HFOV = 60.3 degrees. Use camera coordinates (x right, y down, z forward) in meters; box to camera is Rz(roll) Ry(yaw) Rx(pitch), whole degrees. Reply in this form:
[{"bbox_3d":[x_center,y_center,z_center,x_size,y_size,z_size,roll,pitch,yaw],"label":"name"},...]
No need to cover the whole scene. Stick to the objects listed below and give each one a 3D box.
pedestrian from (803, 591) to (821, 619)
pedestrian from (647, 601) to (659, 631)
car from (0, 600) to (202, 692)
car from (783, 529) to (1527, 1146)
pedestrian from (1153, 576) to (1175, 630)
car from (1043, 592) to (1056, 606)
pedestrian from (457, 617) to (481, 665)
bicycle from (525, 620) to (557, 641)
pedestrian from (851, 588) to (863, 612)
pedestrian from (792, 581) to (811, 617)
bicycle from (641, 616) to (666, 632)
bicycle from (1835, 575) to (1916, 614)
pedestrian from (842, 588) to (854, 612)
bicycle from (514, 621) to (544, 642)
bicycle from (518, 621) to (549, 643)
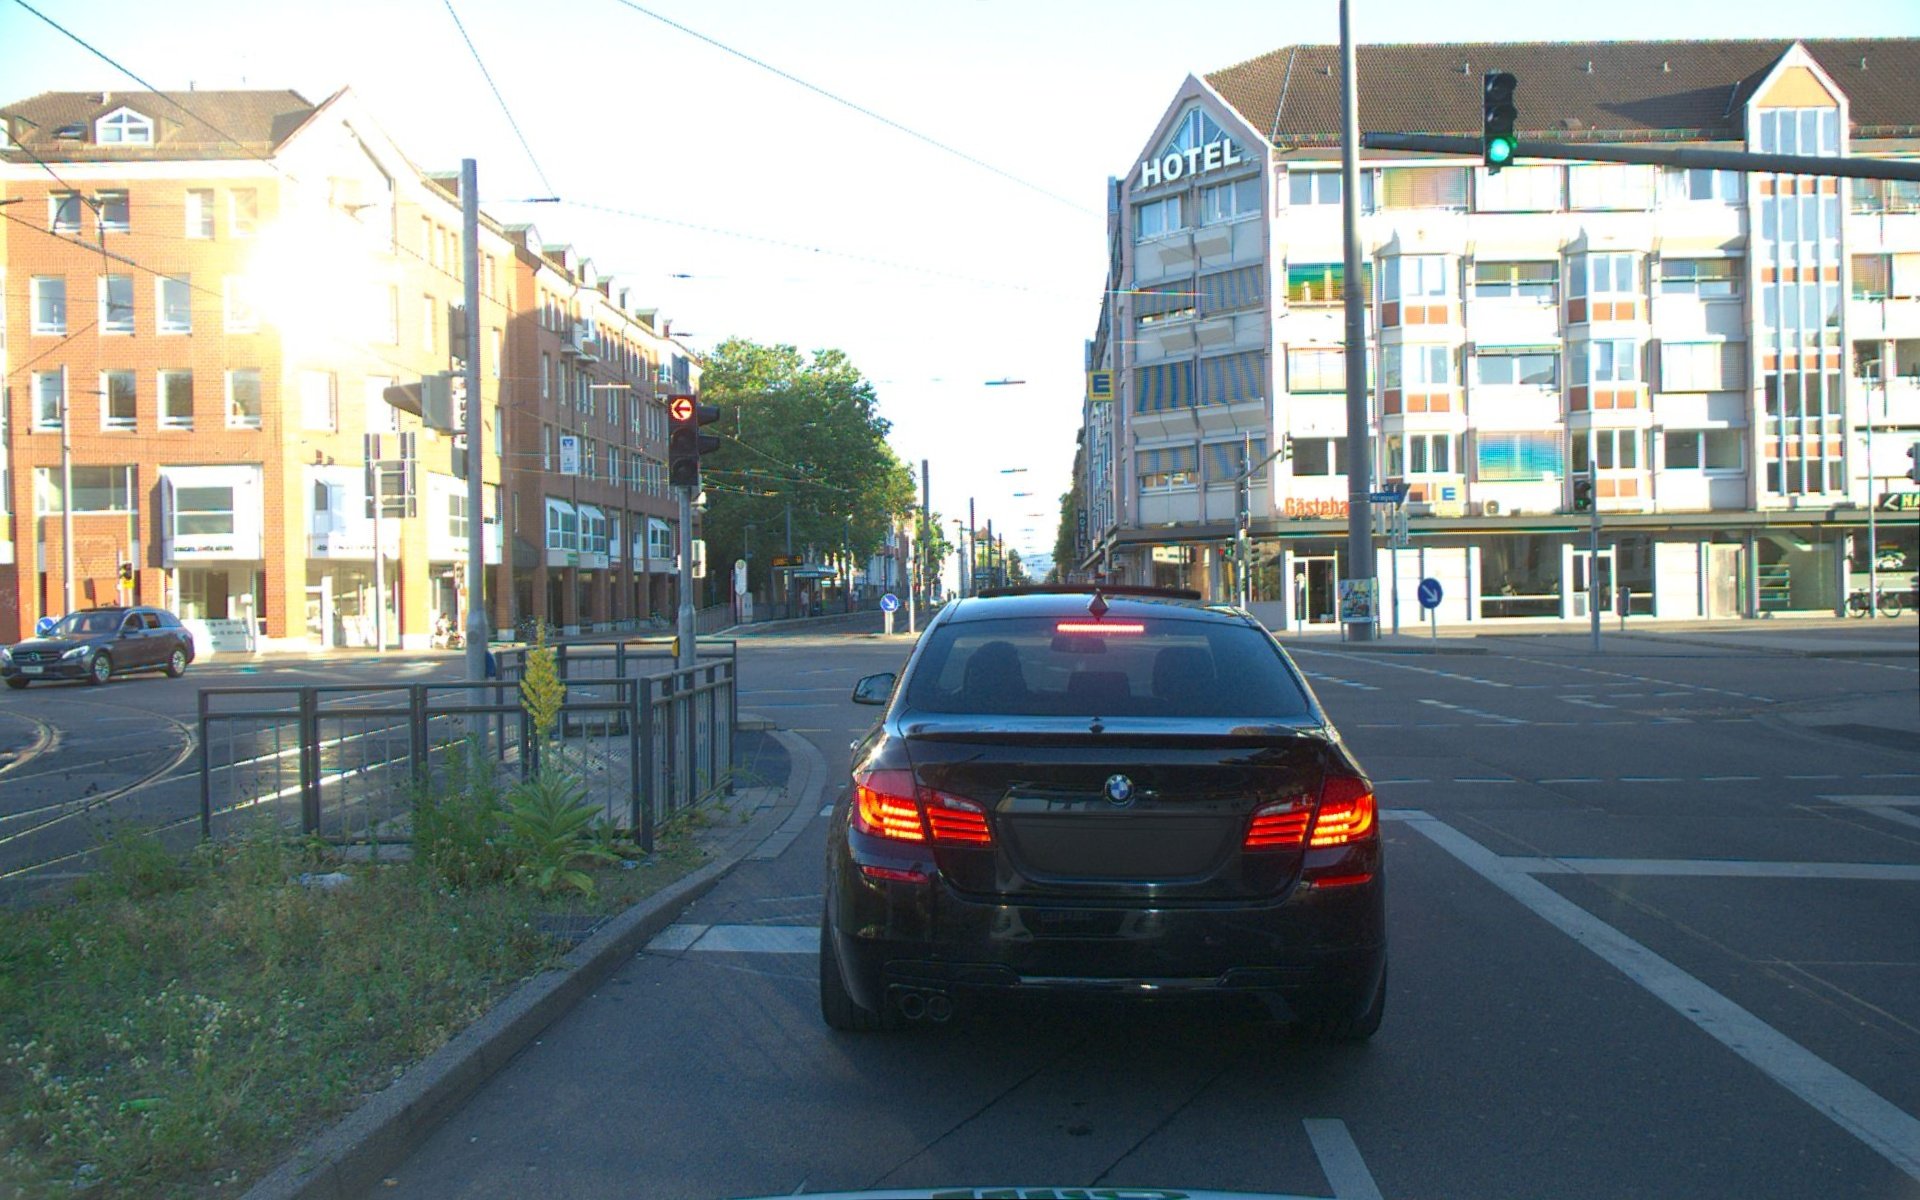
[{"bbox_3d":[-8.949,0.299,99.847,0.967,1.710,0.726,-1,0,2],"label":"pedestrian"},{"bbox_3d":[-17.467,0.911,94.123,0.476,1.710,0.655,-1,0,7],"label":"pedestrian"},{"bbox_3d":[-17.090,0.848,32.742,1.952,1.612,4.480,-2,0,1],"label":"car"},{"bbox_3d":[0.483,0.614,6.380,1.953,1.612,3.999,1,1,-1],"label":"car"},{"bbox_3d":[7.218,0.095,58.533,0.670,1.886,0.671,-1,0,-1],"label":"pedestrian"},{"bbox_3d":[10.494,-0.149,194.783,1.442,1.541,3.097,-1,0,2],"label":"car"},{"bbox_3d":[-19.787,1.658,66.634,0.620,1.900,0.677,1,0,29],"label":"pedestrian"},{"bbox_3d":[-18.957,1.395,74.819,1.388,0.938,0.442,1,0,-13],"label":"bicycle"},{"bbox_3d":[-7.442,-0.033,119.616,0.708,1.710,0.992,-1,0,5],"label":"pedestrian"},{"bbox_3d":[-9.089,-0.034,94.741,0.967,2.049,0.726,0,0,2],"label":"pedestrian"},{"bbox_3d":[-17.690,1.373,95.531,1.387,0.938,0.402,1,0,-11],"label":"bicycle"},{"bbox_3d":[31.663,-0.198,57.238,2.356,1.287,0.823,-1,0,-2],"label":"bicycle"},{"bbox_3d":[-7.954,-0.020,117.582,0.708,1.710,0.992,-1,0,5],"label":"pedestrian"},{"bbox_3d":[-19.172,1.412,73.601,1.263,0.938,0.348,1,0,-13],"label":"bicycle"},{"bbox_3d":[-18.787,1.418,72.851,1.259,0.938,0.349,1,0,-1],"label":"bicycle"}]
